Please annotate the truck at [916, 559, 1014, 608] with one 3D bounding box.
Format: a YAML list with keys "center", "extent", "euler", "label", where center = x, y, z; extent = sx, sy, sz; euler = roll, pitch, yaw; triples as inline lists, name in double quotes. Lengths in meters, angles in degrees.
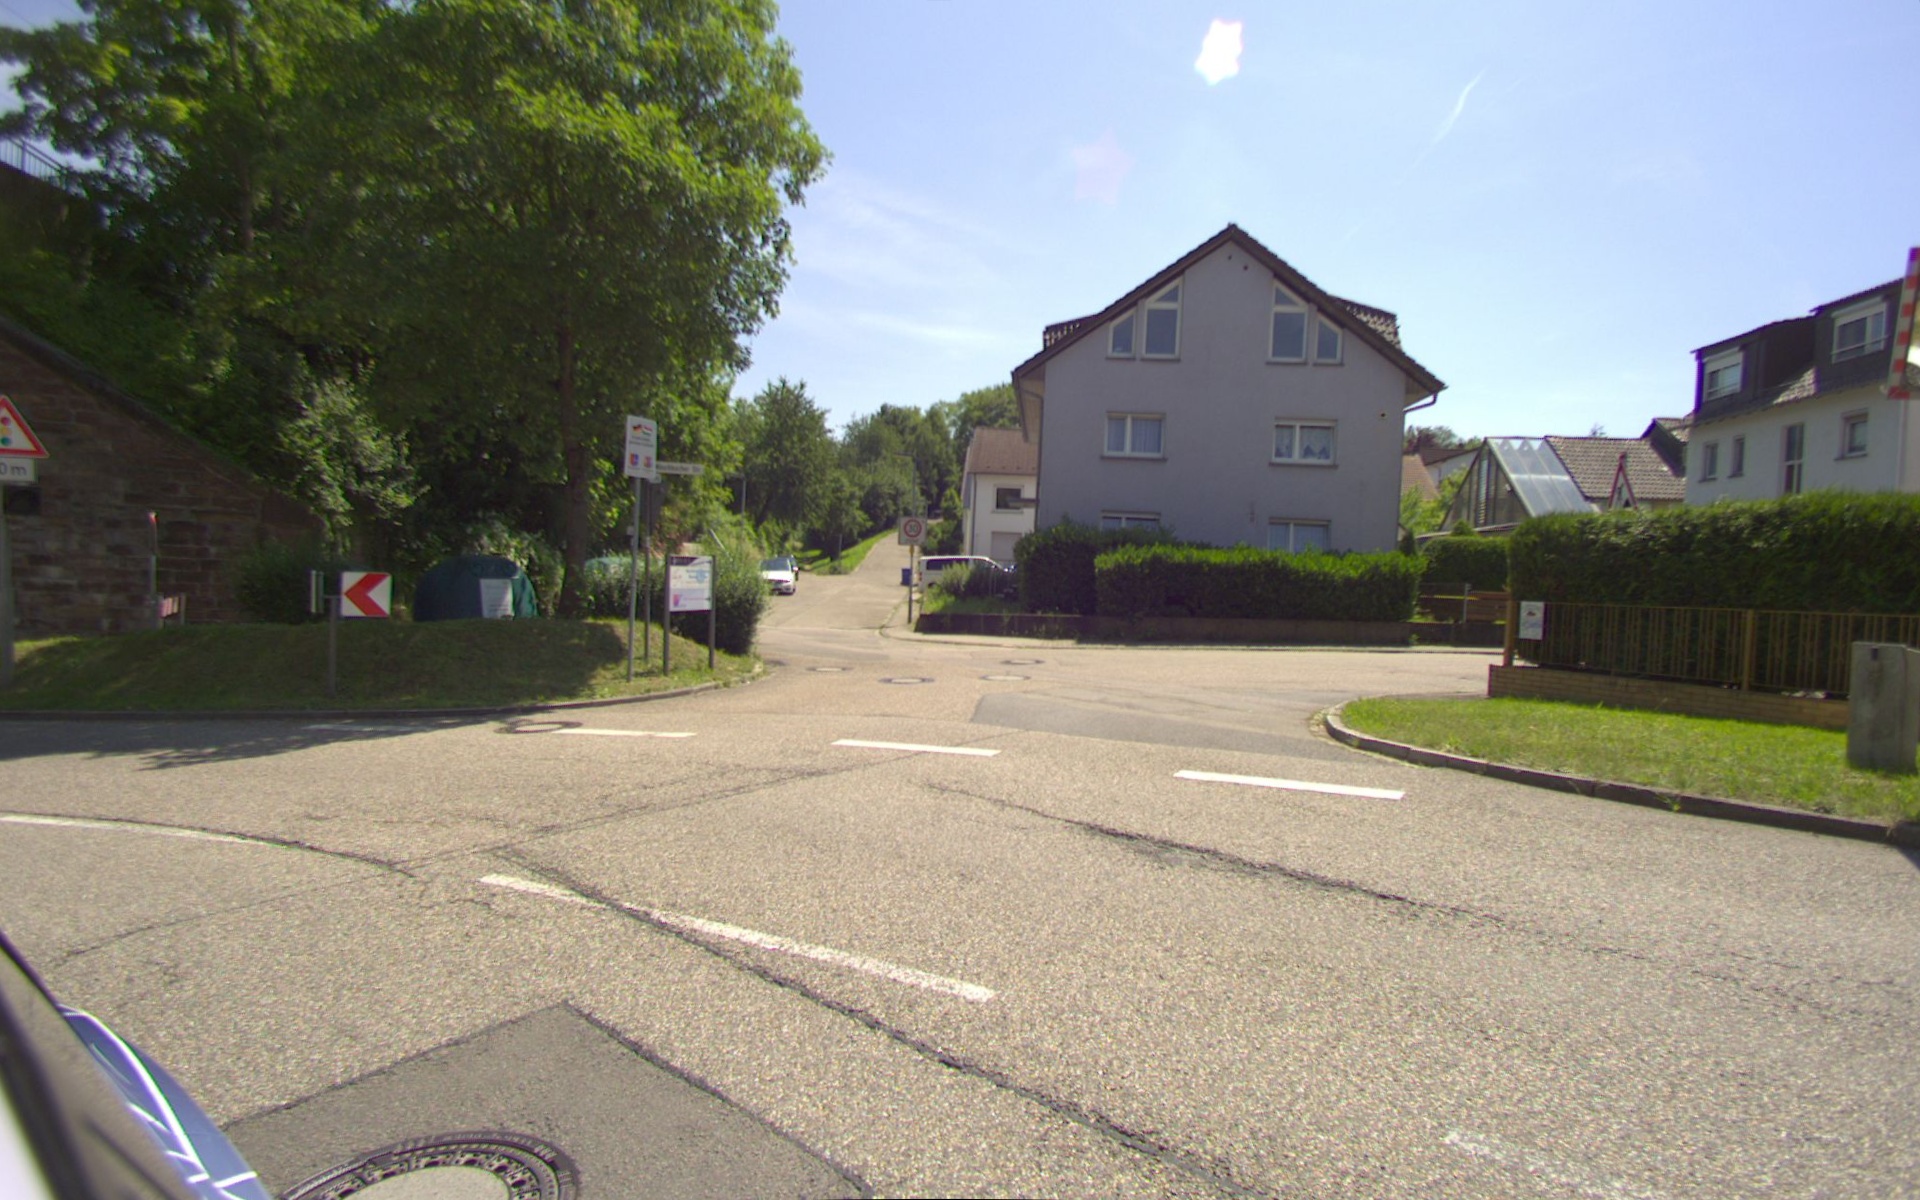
- center: [0.219, -0.735, 45.762]
  extent: [4.255, 2.029, 2.000]
  euler: [-2, 1, 0]
  label: "truck"

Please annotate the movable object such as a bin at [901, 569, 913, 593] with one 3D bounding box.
- center: [-3.169, -1.134, 60.482]
  extent: [0.594, 1.383, 0.536]
  euler: [-1, 0, 4]
  label: "movable object such as a bin"

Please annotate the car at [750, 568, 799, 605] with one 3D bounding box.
- center: [-8.210, -0.644, 45.114]
  extent: [1.968, 1.518, 4.008]
  euler: [0, 2, -8]
  label: "car"
